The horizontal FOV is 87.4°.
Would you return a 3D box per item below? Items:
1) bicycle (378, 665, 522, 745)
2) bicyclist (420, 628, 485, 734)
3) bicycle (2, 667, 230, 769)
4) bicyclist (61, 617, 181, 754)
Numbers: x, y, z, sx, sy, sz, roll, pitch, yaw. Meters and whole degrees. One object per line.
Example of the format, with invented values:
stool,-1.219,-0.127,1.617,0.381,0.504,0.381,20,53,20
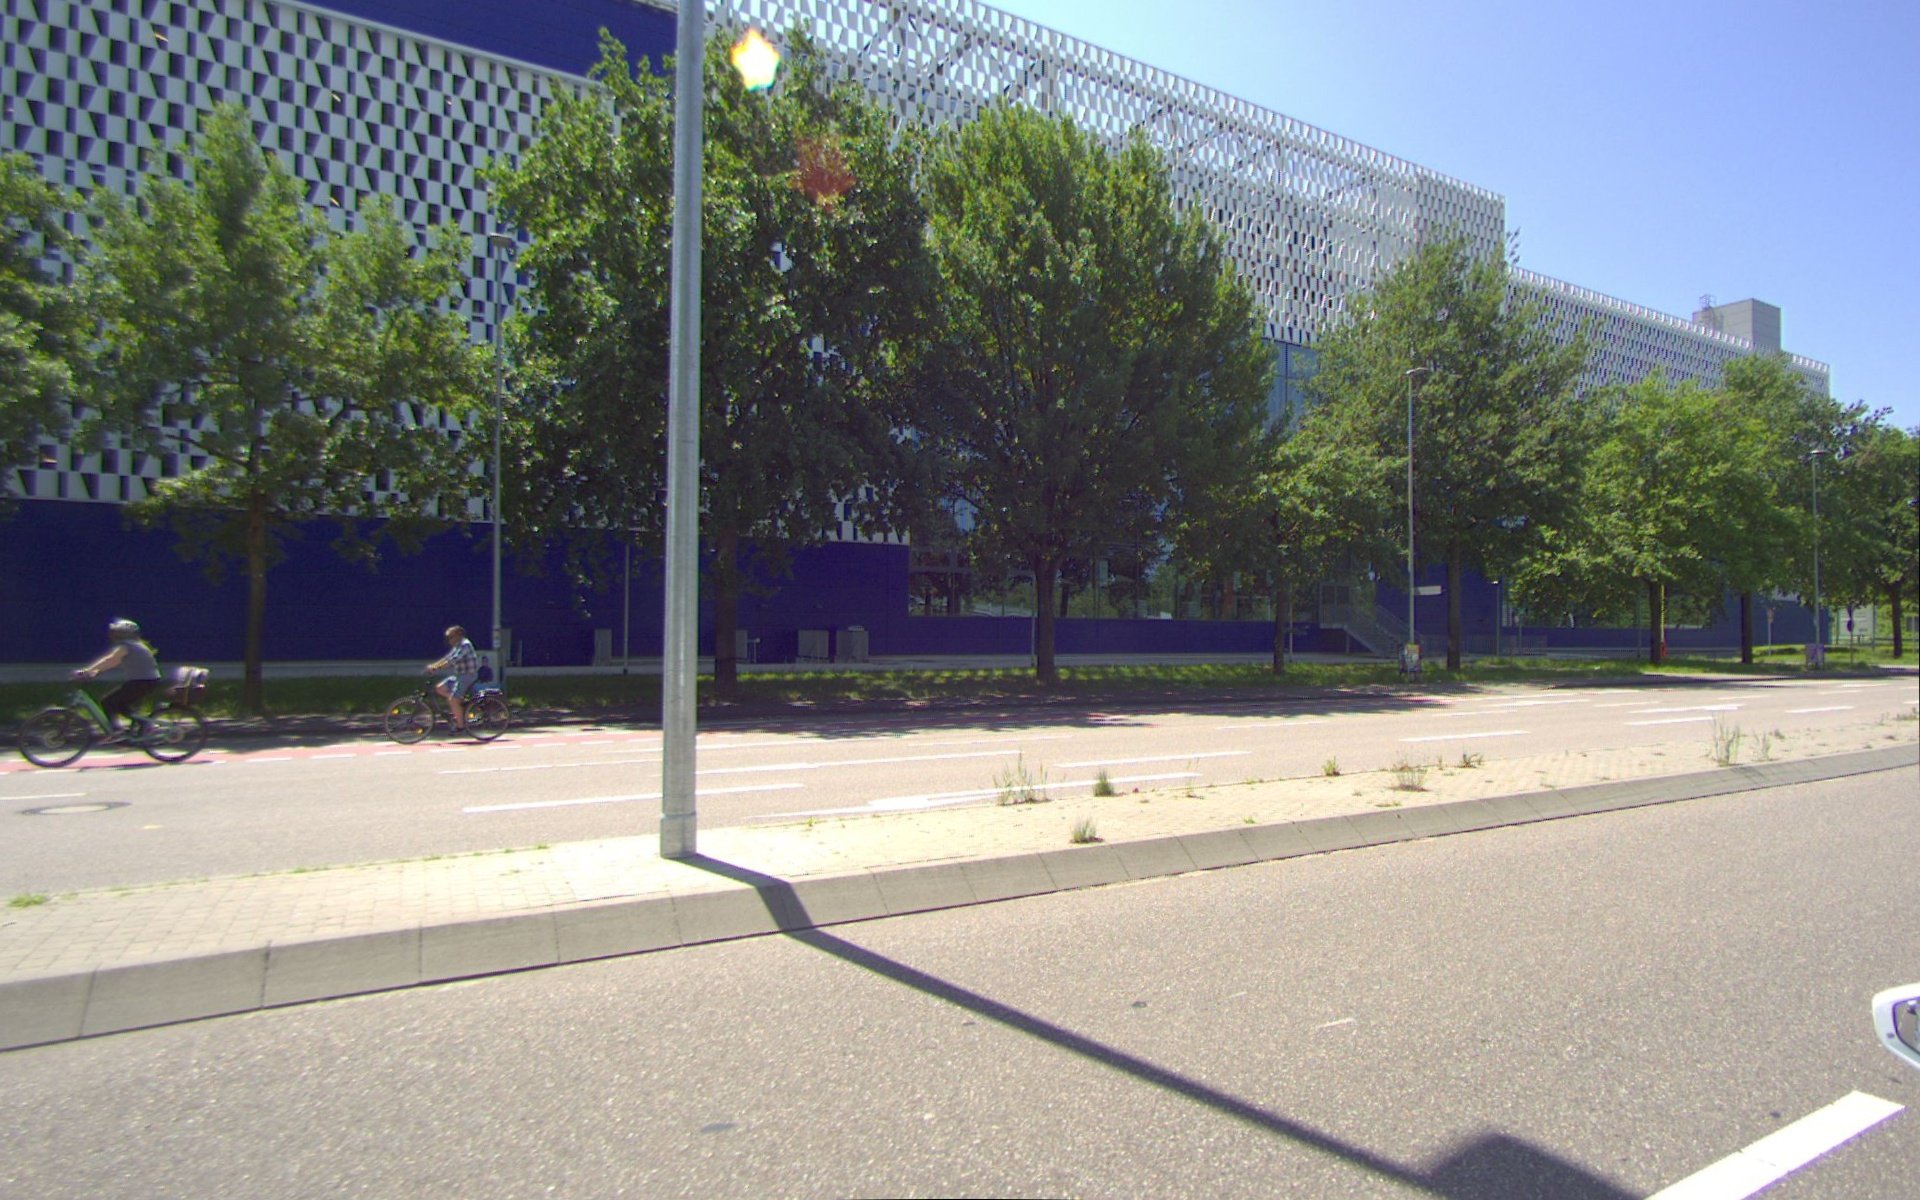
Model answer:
bicycle,-7.930,1.608,15.678,1.945,1.148,0.635,1,-1,-28
bicyclist,-7.924,1.241,15.691,0.873,1.603,0.634,1,-1,-28
bicycle,-10.575,1.453,12.700,2.093,1.174,0.626,1,-3,-31
bicyclist,-10.583,1.060,12.714,1.032,1.650,0.631,1,-3,-31
